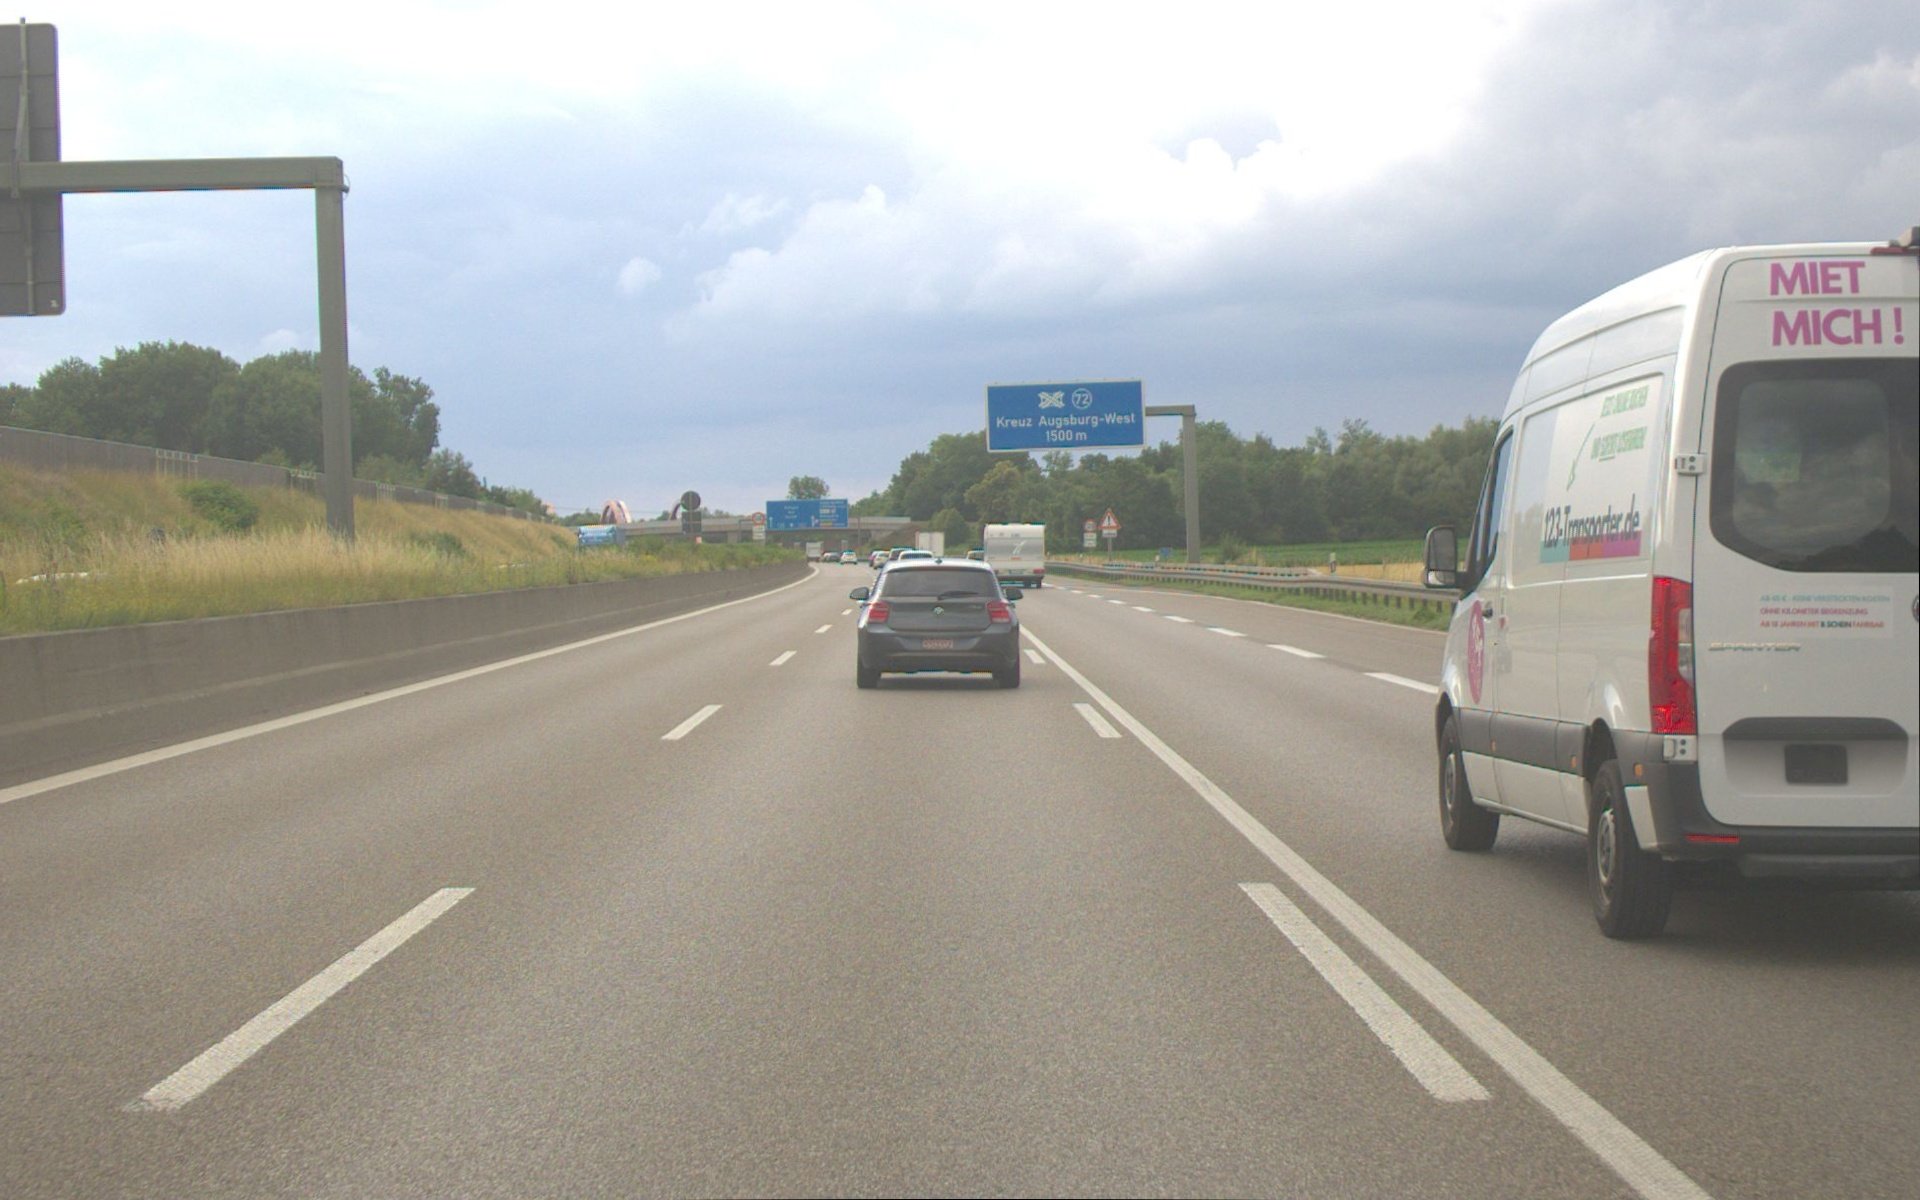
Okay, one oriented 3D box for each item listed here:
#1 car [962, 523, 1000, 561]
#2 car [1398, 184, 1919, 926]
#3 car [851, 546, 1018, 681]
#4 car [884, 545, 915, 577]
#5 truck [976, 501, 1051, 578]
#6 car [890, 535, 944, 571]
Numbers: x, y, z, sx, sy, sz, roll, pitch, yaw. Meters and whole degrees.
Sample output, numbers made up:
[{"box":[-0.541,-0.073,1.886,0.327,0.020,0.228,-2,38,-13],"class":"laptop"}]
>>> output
[{"box":[1.141,-3.196,188.168,1.993,2.007,4.000,-2,1,-1],"class":"car"},{"box":[3.442,-0.227,15.011,2.221,2.559,6.256,0,1,0],"class":"car"},{"box":[-0.280,0.106,38.099,1.743,1.384,4.000,0,1,0],"class":"car"},{"box":[-3.940,-2.576,224.074,1.993,2.007,4.000,-2,1,-1],"class":"car"},{"box":[2.097,-2.465,139.597,2.710,2.954,12.448,1,1,-1],"class":"truck"},{"box":[-1.654,-1.798,130.714,1.993,1.293,4.000,-2,1,-1],"class":"car"}]
